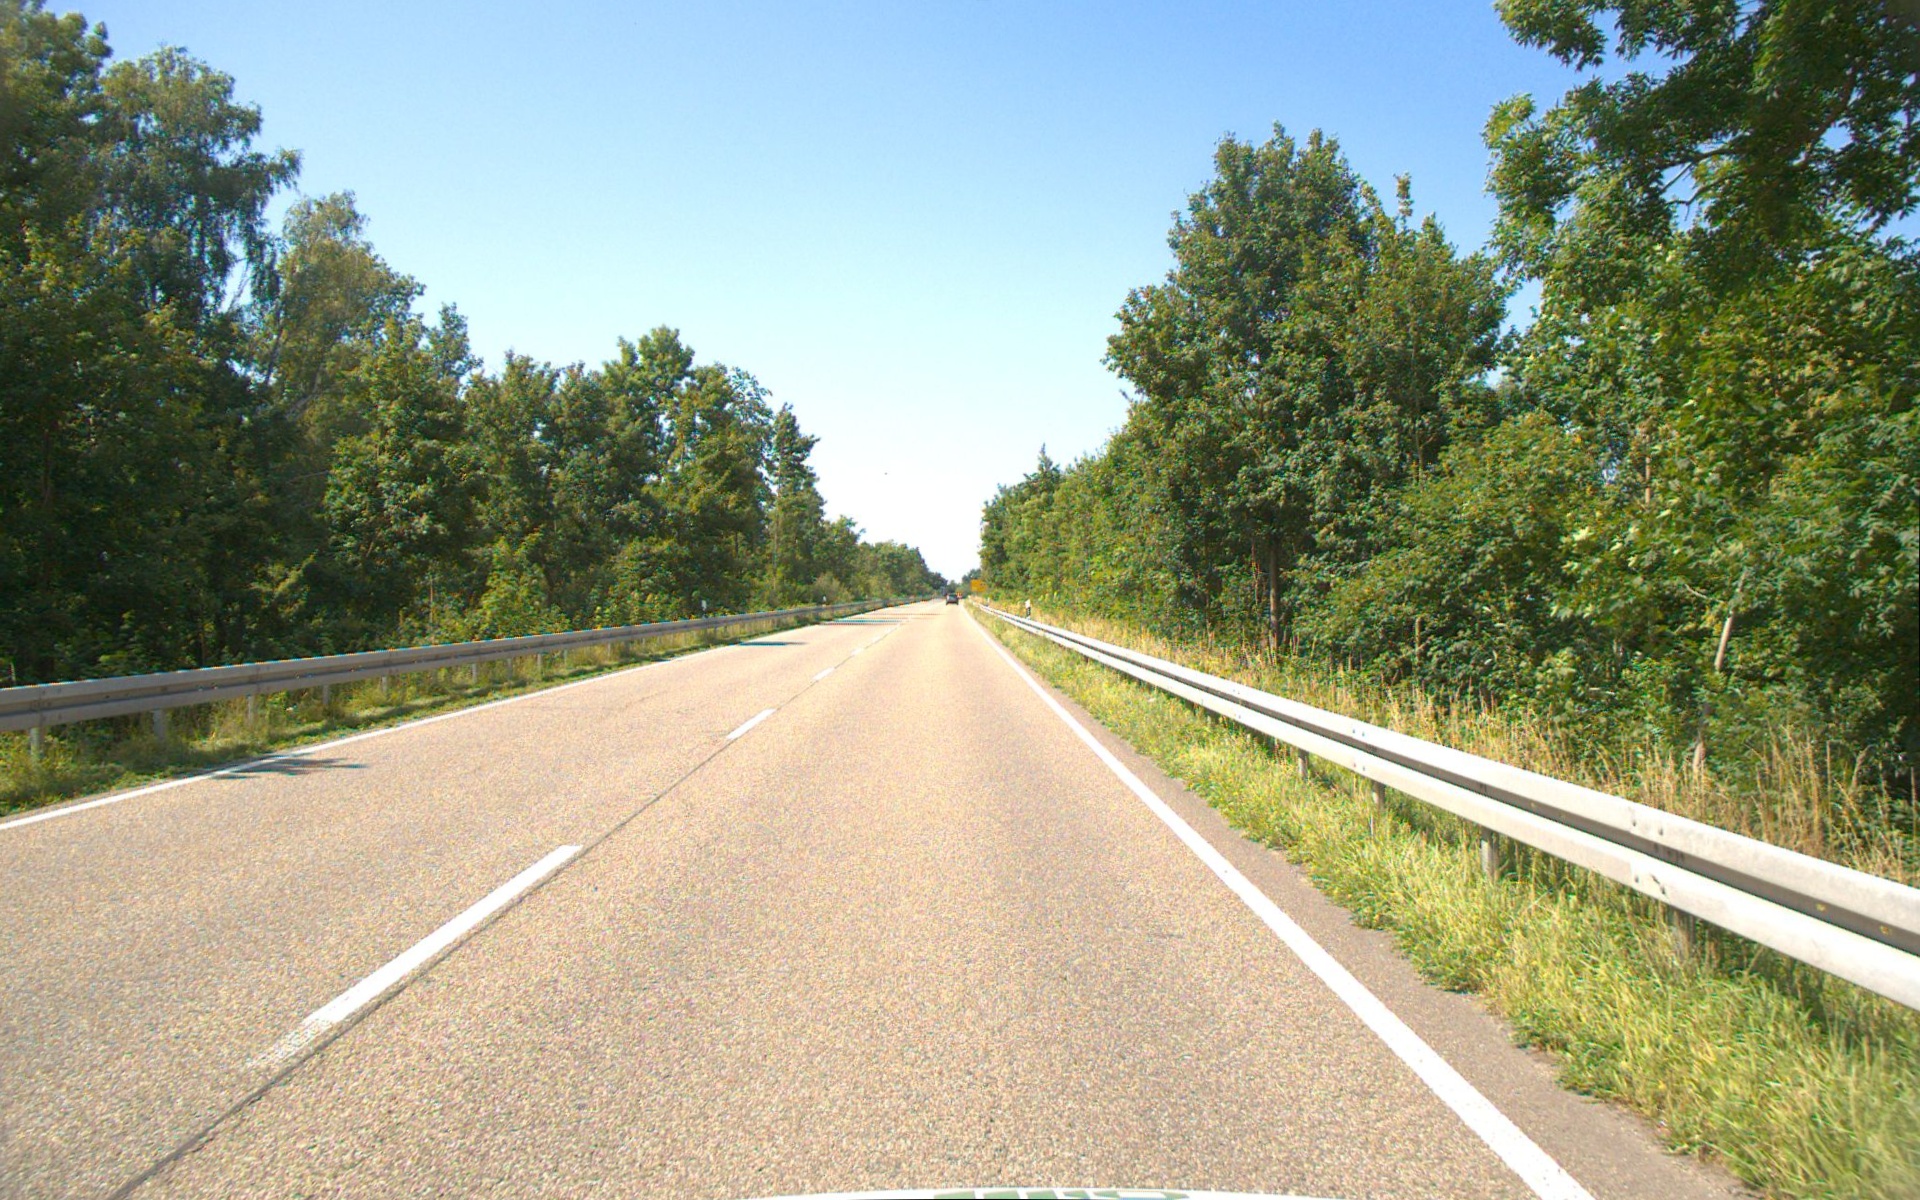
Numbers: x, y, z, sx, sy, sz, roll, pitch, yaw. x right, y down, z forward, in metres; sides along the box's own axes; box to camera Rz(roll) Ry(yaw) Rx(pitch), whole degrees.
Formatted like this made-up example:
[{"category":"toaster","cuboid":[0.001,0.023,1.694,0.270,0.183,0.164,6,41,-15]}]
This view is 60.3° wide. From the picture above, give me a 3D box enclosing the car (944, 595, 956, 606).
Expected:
[{"category":"car","cuboid":[-1.404,0.090,233.070,1.705,1.496,3.693,0,0,1]}]
